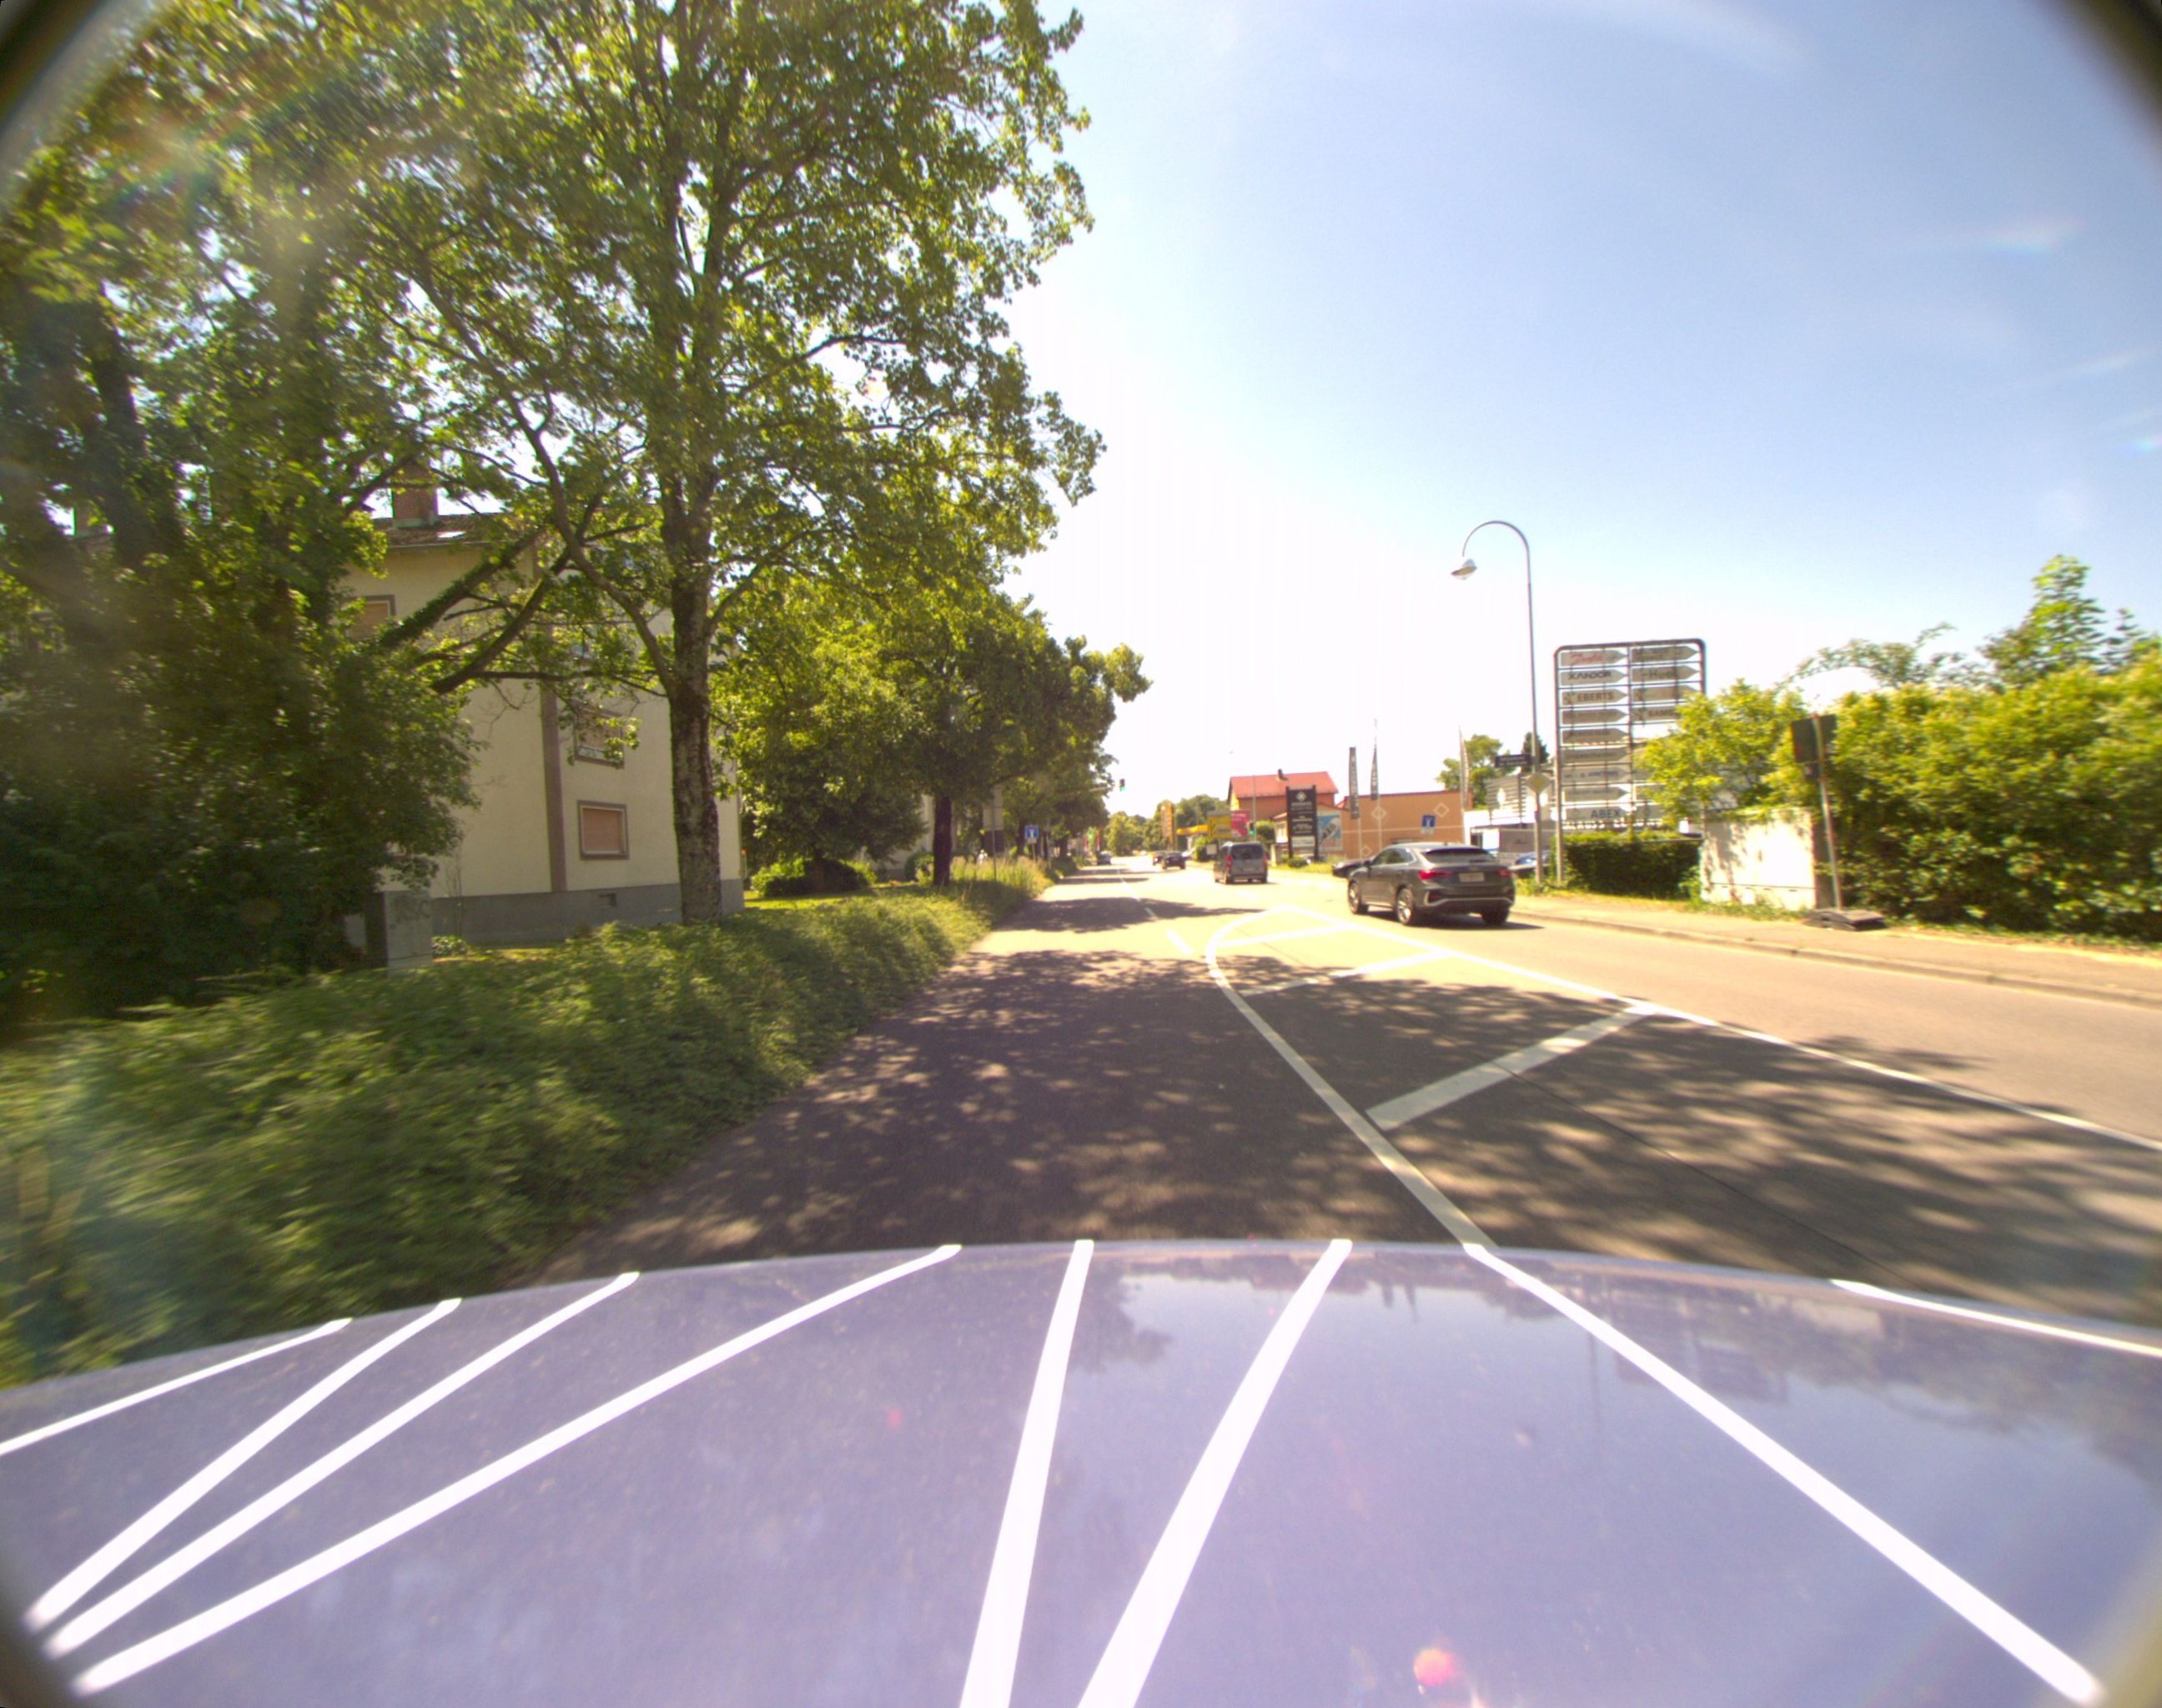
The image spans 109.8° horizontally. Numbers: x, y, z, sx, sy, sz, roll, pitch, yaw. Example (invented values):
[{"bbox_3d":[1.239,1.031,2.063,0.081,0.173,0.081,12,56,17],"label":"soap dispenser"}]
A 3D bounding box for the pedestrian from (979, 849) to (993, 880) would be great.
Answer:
[{"bbox_3d":[-5.907,0.639,47.313,0.677,1.915,0.621,-3,1,1],"label":"pedestrian"}]

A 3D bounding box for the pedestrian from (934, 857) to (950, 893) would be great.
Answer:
[{"bbox_3d":[-7.544,1.146,41.246,0.677,1.915,0.621,-3,1,1],"label":"pedestrian"}]

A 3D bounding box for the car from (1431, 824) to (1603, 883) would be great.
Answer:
[{"bbox_3d":[17.853,-0.019,31.443,5.708,2.117,2.176,-3,1,10],"label":"car"}]

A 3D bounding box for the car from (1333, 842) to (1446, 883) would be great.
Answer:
[{"bbox_3d":[13.102,0.356,32.533,4.311,1.540,1.888,-2,1,19],"label":"car"}]

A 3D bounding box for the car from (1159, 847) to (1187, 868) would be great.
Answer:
[{"bbox_3d":[7.540,0.266,62.663,1.883,1.623,4.321,-2,1,2],"label":"car"}]

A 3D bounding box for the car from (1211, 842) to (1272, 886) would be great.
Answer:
[{"bbox_3d":[6.946,0.384,33.370,1.883,1.731,4.321,-2,1,2],"label":"car"}]

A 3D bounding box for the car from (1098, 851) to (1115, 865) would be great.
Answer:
[{"bbox_3d":[3.133,0.486,92.740,1.883,1.623,4.321,-2,1,2],"label":"car"}]

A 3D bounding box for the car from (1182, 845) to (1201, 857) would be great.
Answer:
[{"bbox_3d":[15.258,-0.438,104.765,1.996,1.412,4.004,-3,1,15],"label":"car"}]

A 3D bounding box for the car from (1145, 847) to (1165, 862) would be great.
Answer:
[{"bbox_3d":[8.119,0.027,83.535,1.883,1.623,4.321,-2,1,2],"label":"car"}]

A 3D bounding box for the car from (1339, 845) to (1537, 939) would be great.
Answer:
[{"bbox_3d":[6.876,0.641,15.222,1.884,1.540,4.320,-2,1,0],"label":"car"}]
